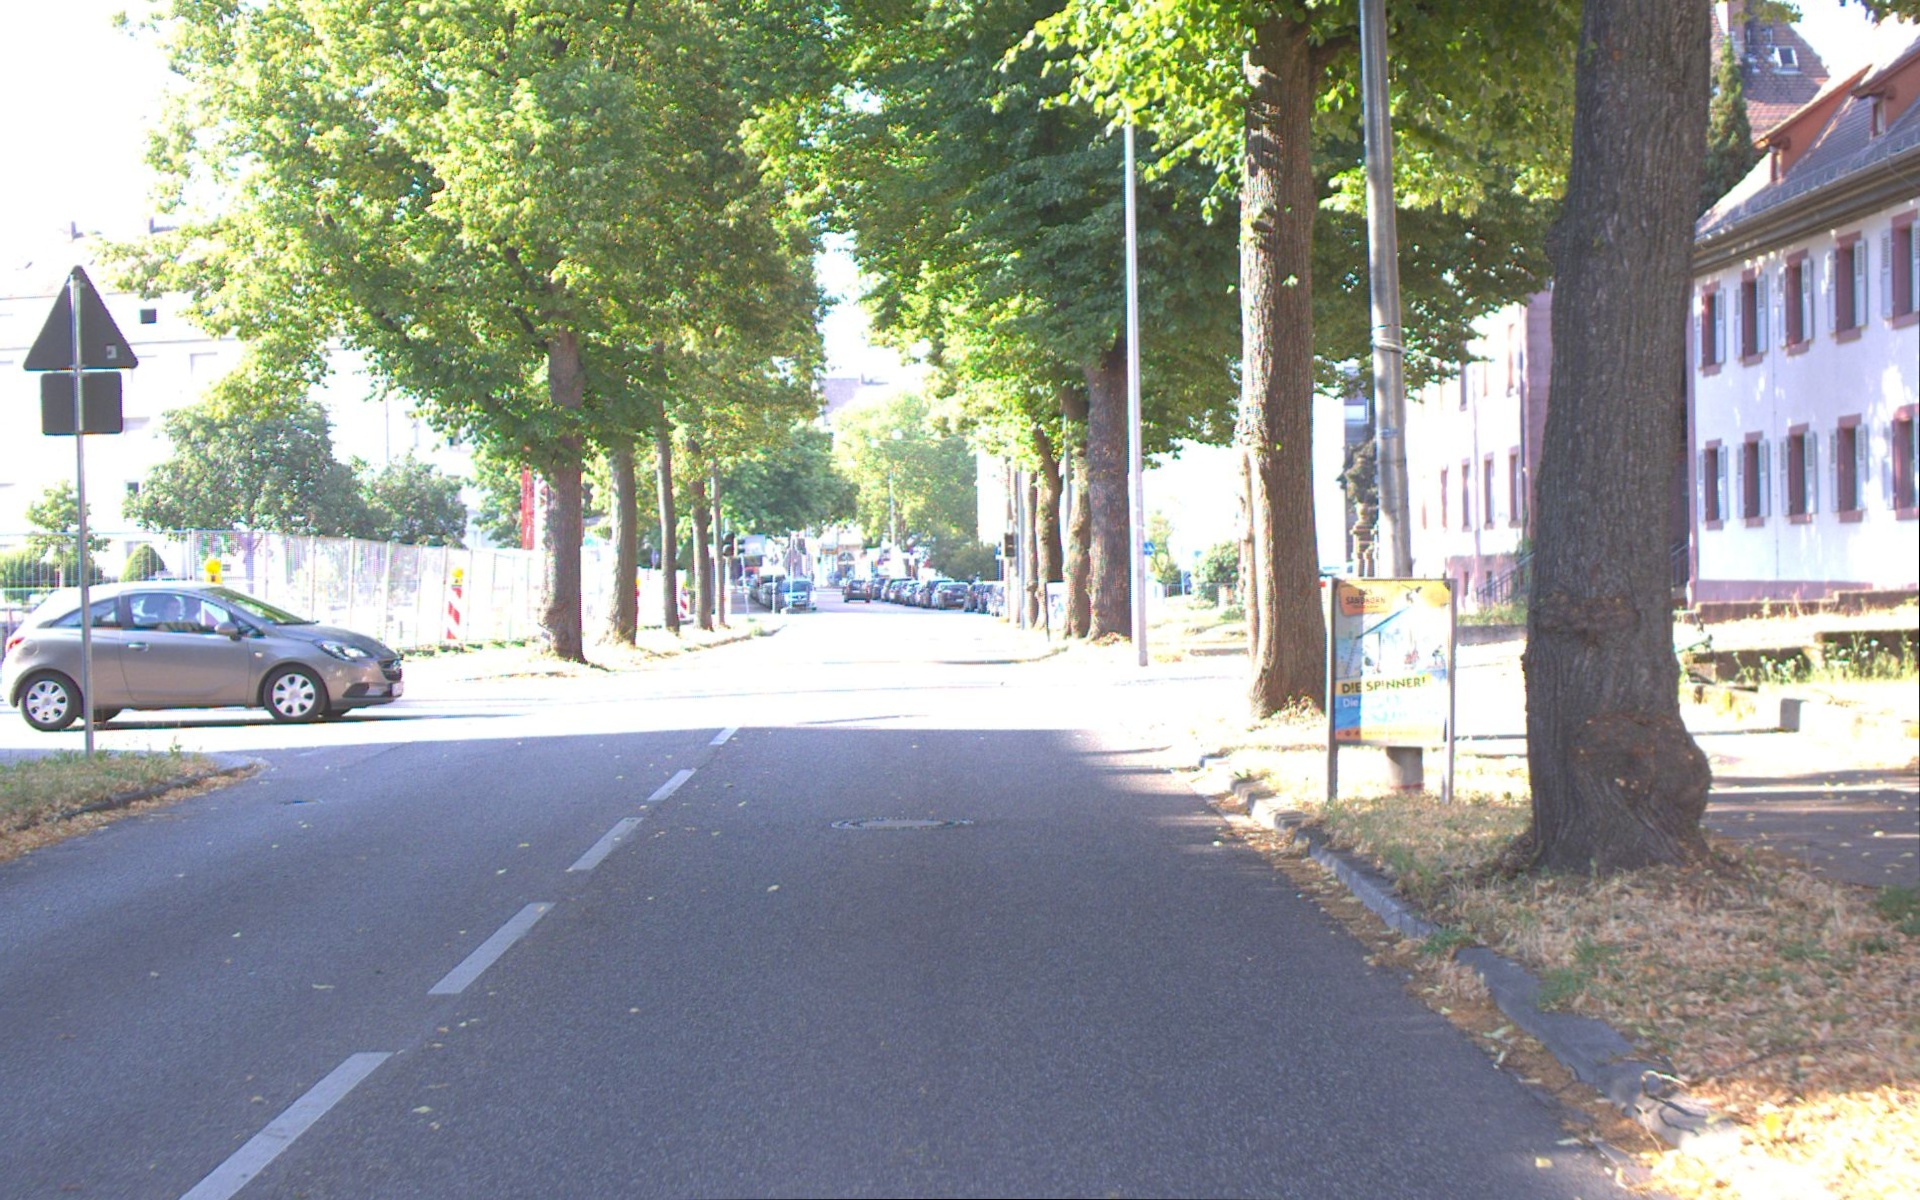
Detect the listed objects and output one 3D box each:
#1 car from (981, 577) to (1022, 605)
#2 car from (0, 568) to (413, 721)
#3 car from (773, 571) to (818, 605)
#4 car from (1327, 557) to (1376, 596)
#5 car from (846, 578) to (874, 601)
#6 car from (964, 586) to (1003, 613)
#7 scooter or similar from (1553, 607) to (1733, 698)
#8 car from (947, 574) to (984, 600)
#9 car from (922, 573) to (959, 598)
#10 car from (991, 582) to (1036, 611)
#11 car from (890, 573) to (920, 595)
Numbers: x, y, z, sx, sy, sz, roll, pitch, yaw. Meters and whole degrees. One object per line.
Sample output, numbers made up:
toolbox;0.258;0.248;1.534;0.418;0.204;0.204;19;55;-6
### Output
car;1.965;-0.426;163.293;1.841;1.256;4.000;-1;1;0
car;-7.666;0.434;35.120;3.844;1.468;1.651;-1;1;2
car;-8.422;-0.600;175.797;1.993;1.682;4.001;-1;0;-6
car;16.854;-1.014;148.241;1.812;1.554;3.625;1;-1;2
car;-6.974;-0.728;239.811;1.714;1.481;4.000;-2;0;-4
car;1.151;-0.021;170.539;1.841;1.257;4.000;-2;0;-1
scooter or similar;5.739;0.435;28.954;1.225;0.547;1.064;-10;1;-1
car;0.308;-0.730;188.531;1.841;1.381;4.000;-1;1;-2
car;-1.151;-0.844;199.373;1.841;1.381;4.000;-2;0;-4
car;2.384;-0.157;153.193;1.841;1.257;4.000;-2;0;-1
car;-3.726;-1.074;232.120;1.841;1.381;4.000;-2;0;-4
